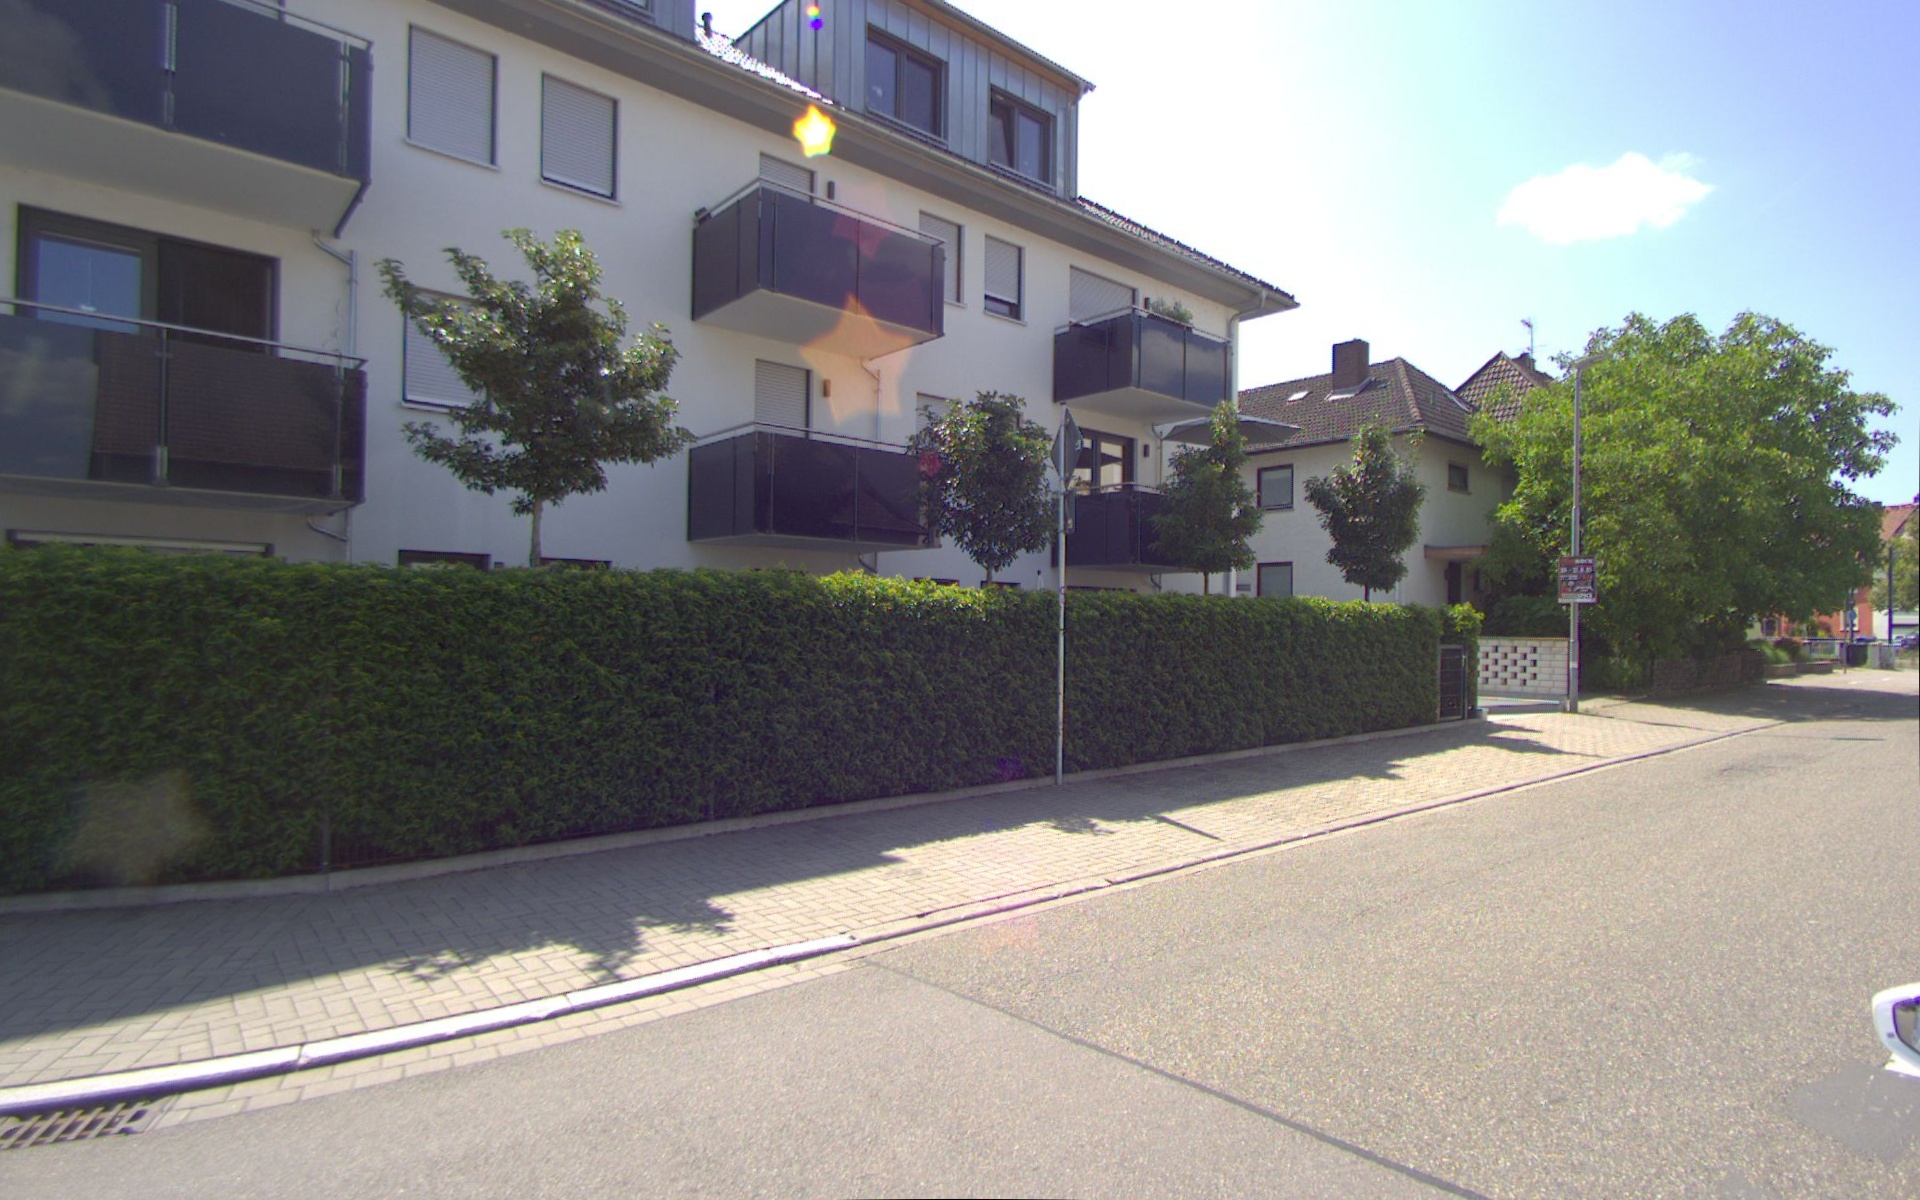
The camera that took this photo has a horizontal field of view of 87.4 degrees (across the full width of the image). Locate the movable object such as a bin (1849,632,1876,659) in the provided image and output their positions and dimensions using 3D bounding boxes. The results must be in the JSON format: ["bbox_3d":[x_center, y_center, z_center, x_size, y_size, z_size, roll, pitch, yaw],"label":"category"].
[{"bbox_3d":[43.583,2.180,48.509,0.829,1.229,1.272,1,-1,37],"label":"movable object such as a bin"}]

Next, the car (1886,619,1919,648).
[{"bbox_3d":[57.719,2.079,59.938,3.549,1.607,1.868,3,2,-14],"label":"car"}]

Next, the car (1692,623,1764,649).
[{"bbox_3d":[57.350,2.688,74.992,4.178,1.508,1.745,4,2,-8],"label":"car"}]

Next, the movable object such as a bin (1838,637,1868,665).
[{"bbox_3d":[41.119,2.343,46.242,0.894,1.241,0.878,2,-1,-38],"label":"movable object such as a bin"}]
